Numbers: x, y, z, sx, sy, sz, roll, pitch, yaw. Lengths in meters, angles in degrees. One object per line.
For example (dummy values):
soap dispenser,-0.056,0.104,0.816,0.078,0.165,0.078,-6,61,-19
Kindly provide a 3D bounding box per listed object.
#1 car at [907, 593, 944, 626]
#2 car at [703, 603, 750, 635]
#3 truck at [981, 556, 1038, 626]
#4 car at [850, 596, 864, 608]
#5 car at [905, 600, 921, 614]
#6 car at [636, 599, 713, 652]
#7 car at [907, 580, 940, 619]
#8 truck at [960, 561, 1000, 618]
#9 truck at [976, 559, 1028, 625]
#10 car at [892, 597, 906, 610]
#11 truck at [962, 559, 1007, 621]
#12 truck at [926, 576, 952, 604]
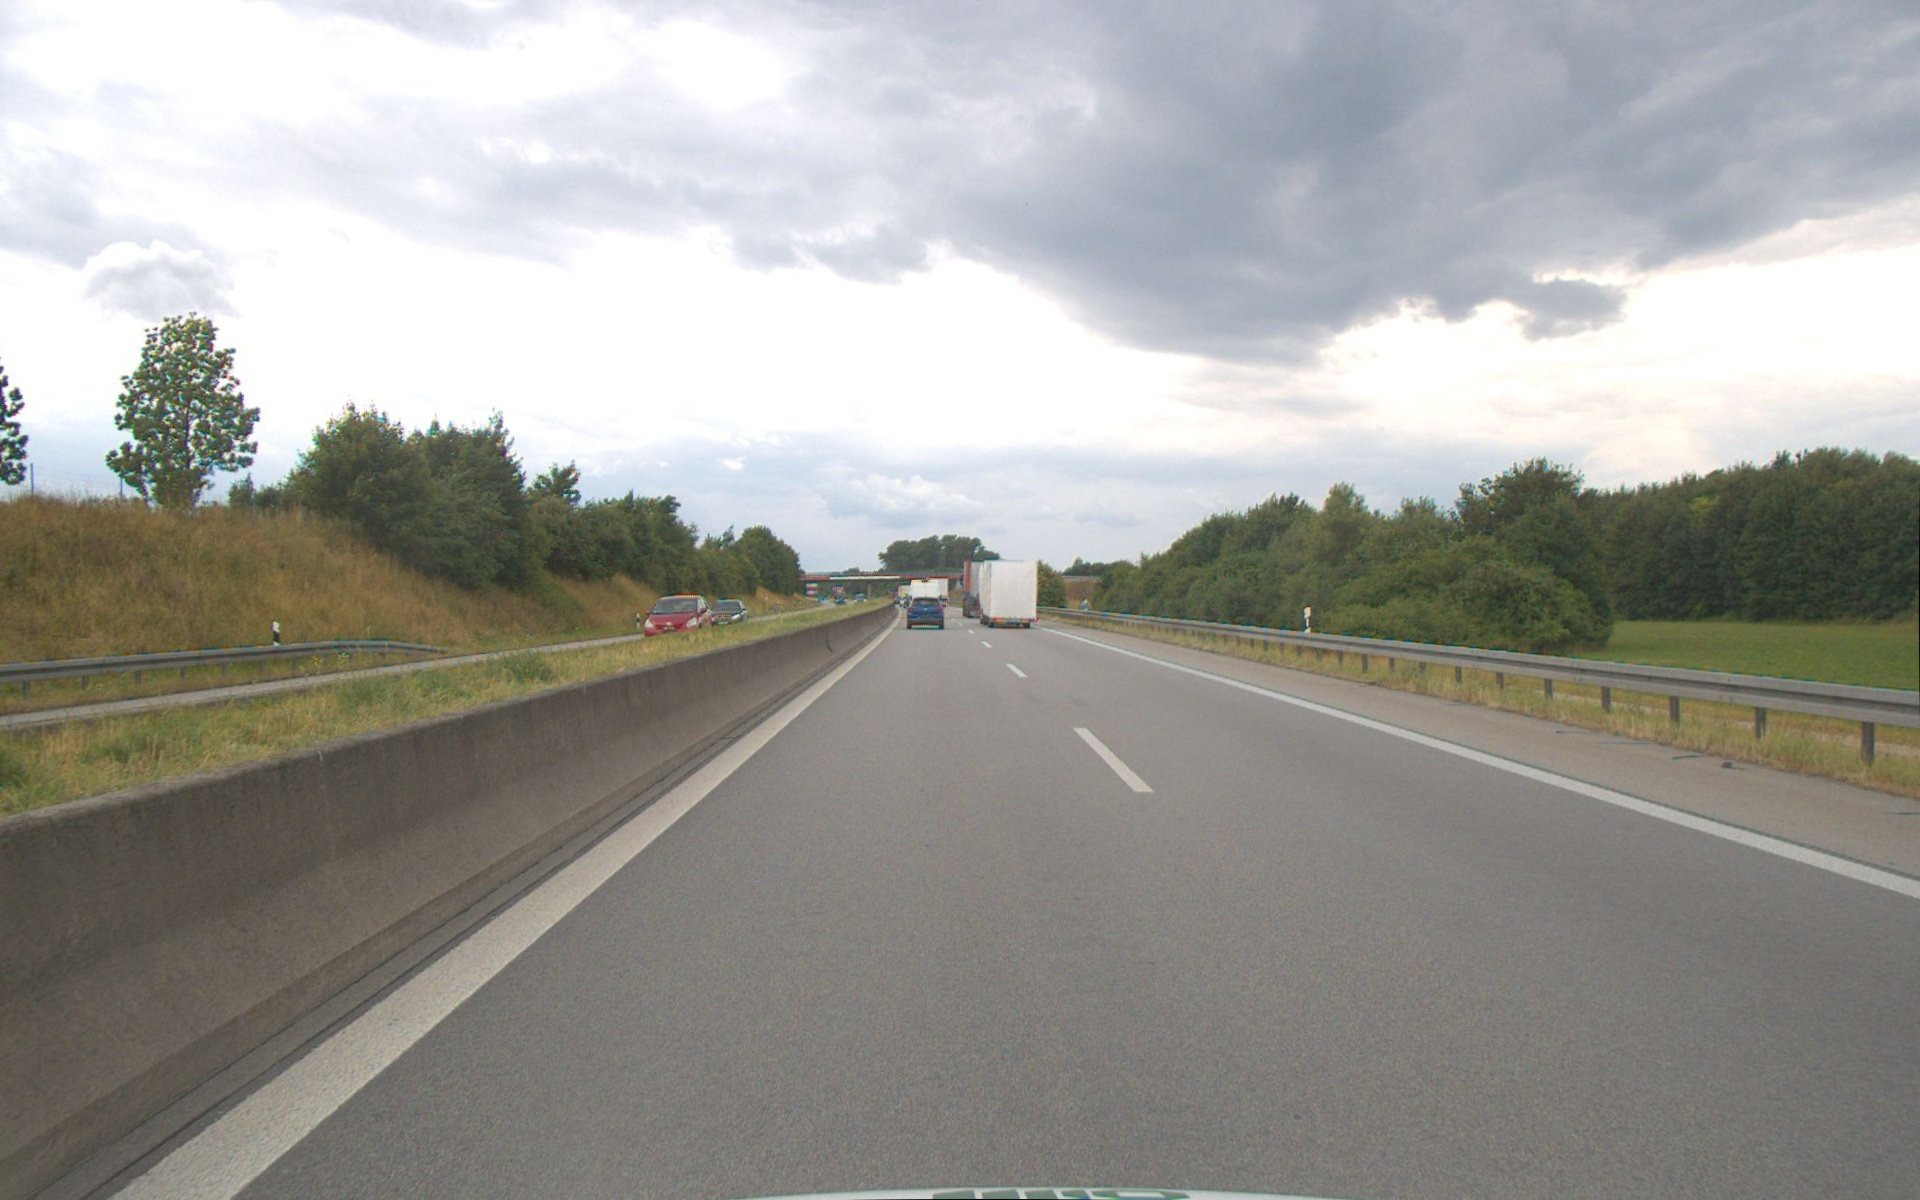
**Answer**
car,-1.551,0.419,74.833,1.630,1.431,3.647,0,0,-1
car,-11.989,0.954,85.144,1.808,1.523,4.579,-3,0,-1
truck,2.326,-0.410,80.173,2.366,3.278,7.141,0,0,-1
car,-16.044,0.335,258.153,1.880,1.723,4.595,-2,0,-2
car,-5.691,0.885,202.266,1.895,1.672,4.902,0,0,-1
car,-9.308,0.806,54.286,1.808,1.599,4.360,-2,0,-1
car,-2.477,-0.043,110.149,2.087,2.526,5.837,0,0,-2
truck,1.438,-0.782,121.936,2.619,4.116,5.510,-1,0,-2
truck,2.148,-0.401,87.364,2.380,3.300,7.245,0,0,-1
car,-8.687,0.507,234.779,1.954,1.713,3.997,0,0,-4
truck,1.660,-0.741,116.534,2.619,4.116,11.103,-1,0,-2
truck,-2.958,-1.356,228.926,3.049,3.754,9.316,-2,0,-3
